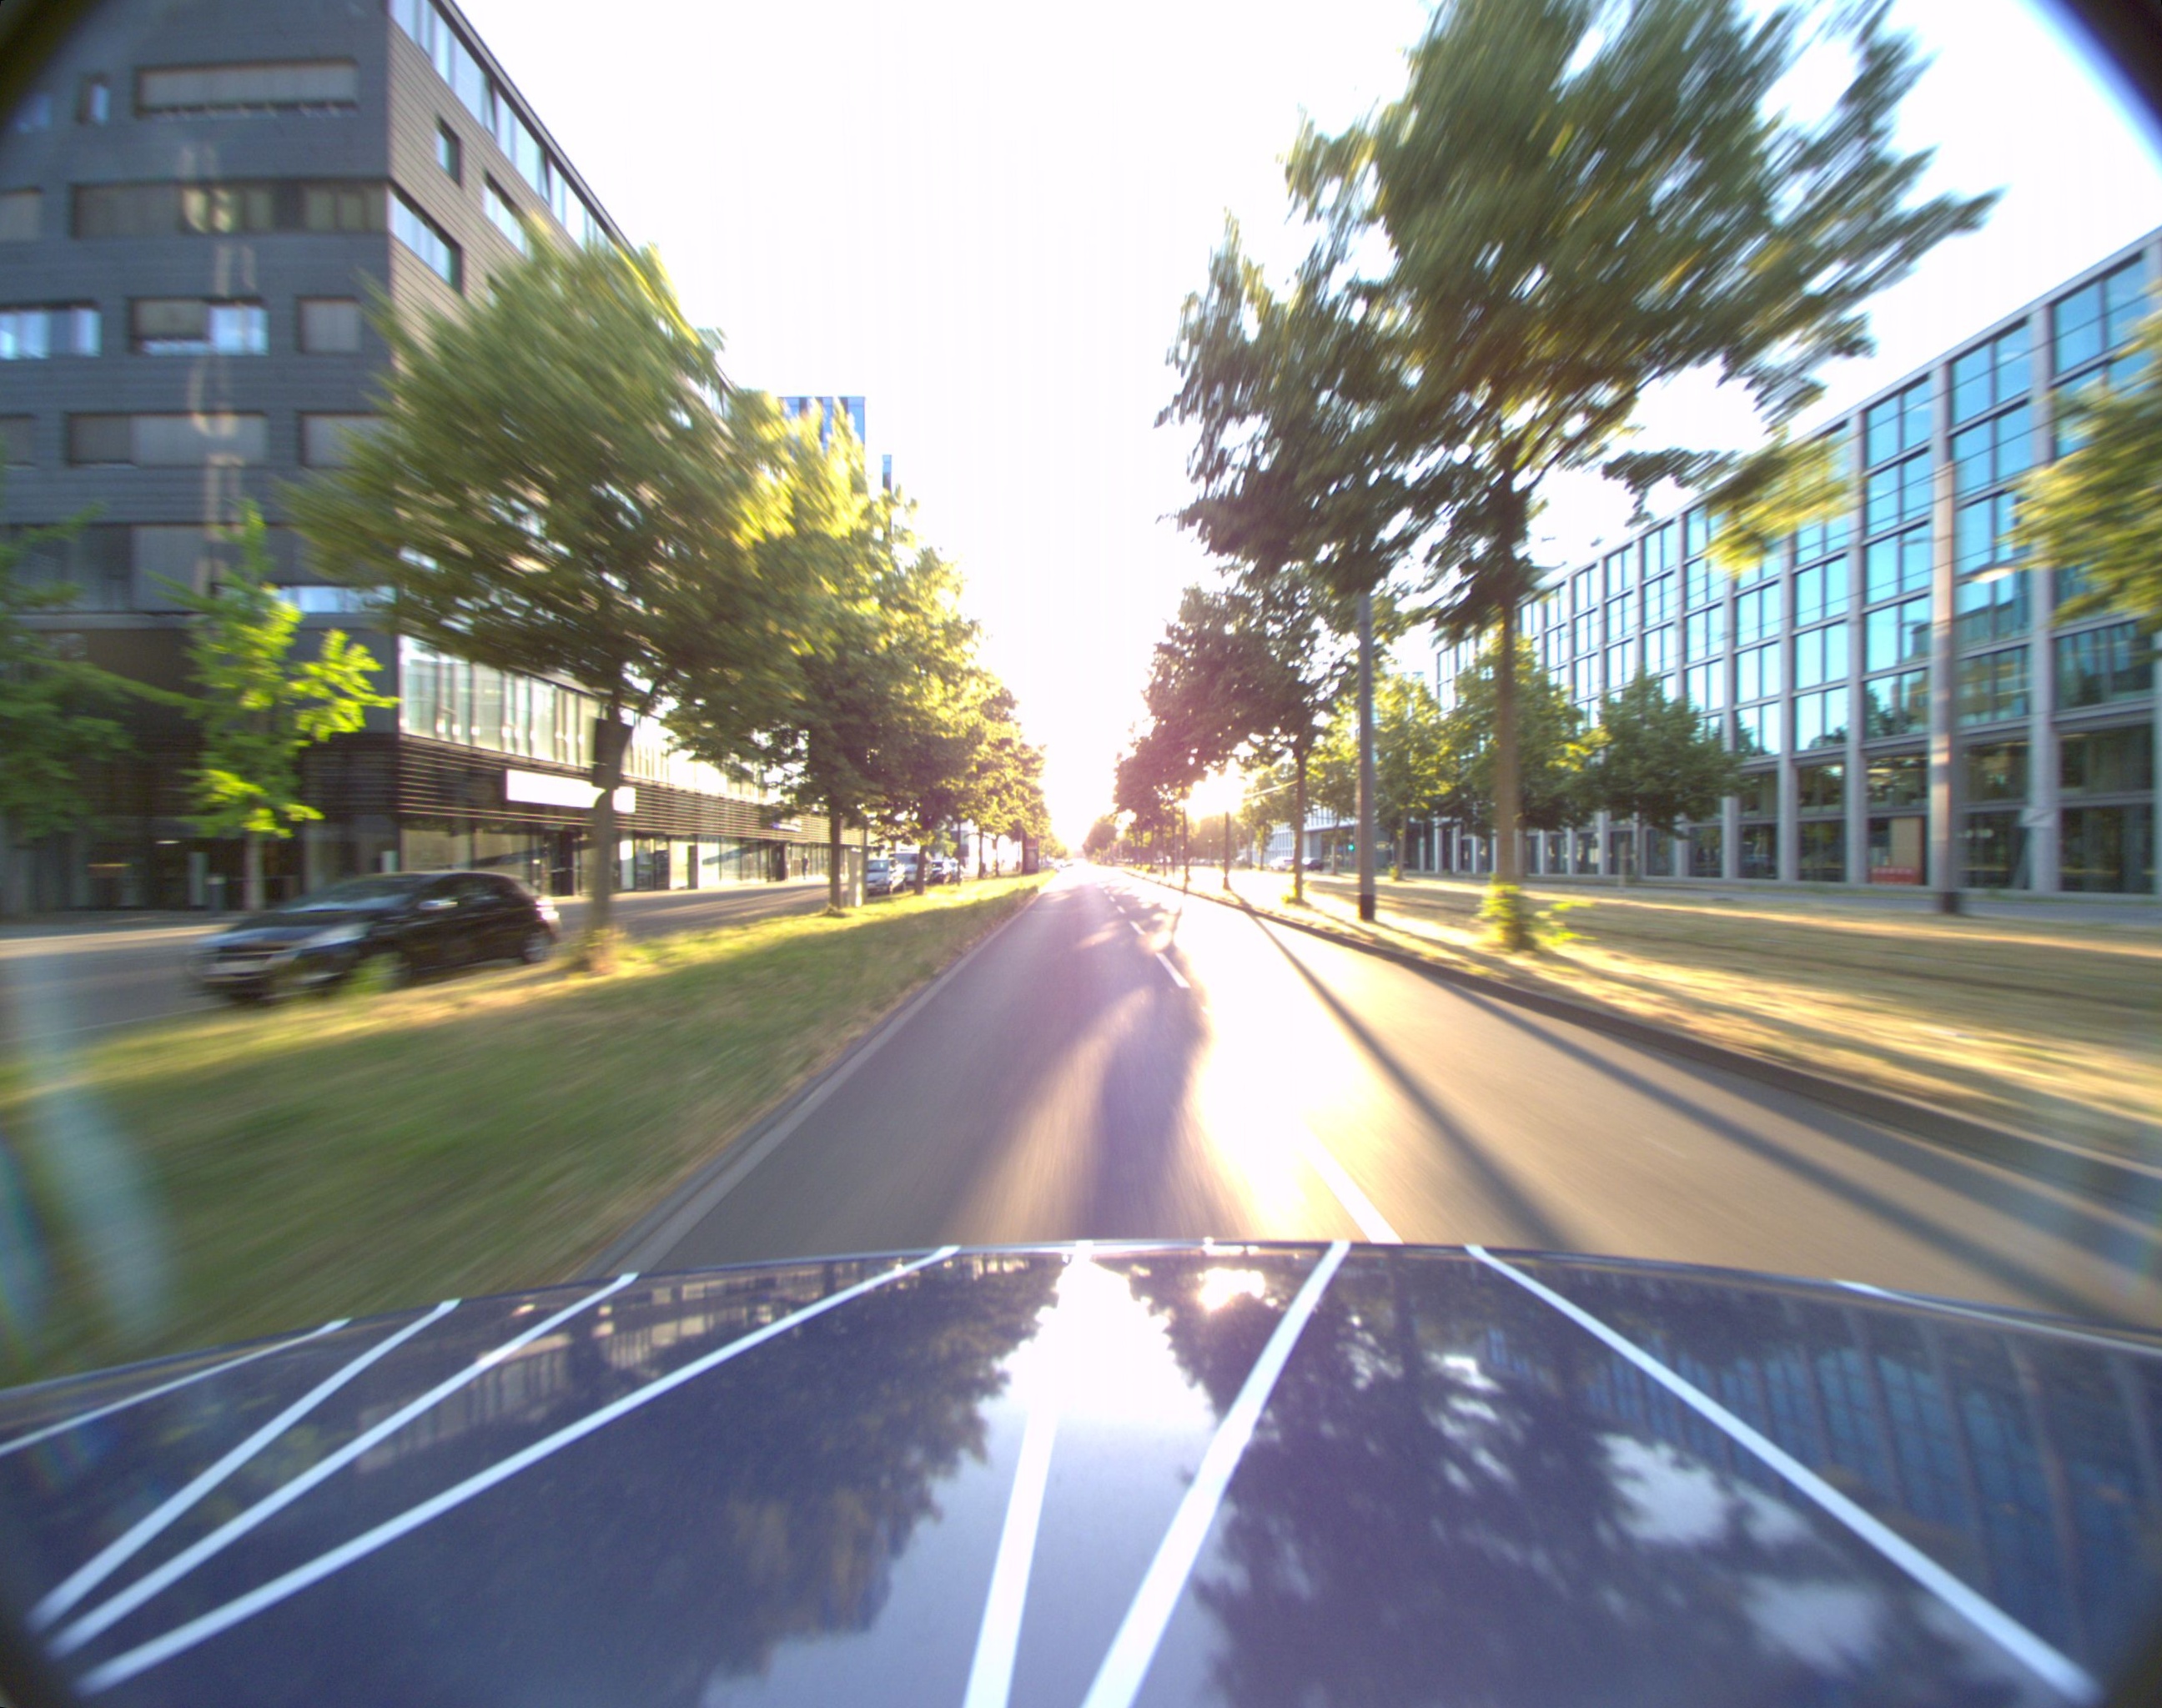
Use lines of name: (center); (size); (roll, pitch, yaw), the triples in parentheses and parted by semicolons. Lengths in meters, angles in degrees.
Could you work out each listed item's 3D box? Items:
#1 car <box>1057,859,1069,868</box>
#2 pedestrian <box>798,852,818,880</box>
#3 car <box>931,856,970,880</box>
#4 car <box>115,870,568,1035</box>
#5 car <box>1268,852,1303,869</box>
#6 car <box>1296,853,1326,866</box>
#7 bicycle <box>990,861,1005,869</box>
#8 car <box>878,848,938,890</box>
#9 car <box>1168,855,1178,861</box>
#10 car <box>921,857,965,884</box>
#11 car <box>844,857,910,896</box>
car: (-3.179, 1.673, 134.658); (1.999, 1.473, 4.335); (-1, 0, -1)
pedestrian: (-17.588, 0.779, 48.967); (0.899, 1.786, 0.912); (0, 0, -2)
car: (-9.010, 0.957, 52.838); (1.922, 1.488, 5.040); (-2, 0, -2)
car: (-8.865, 1.040, 9.726); (1.785, 1.485, 4.000); (-4, 0, 0)
car: (19.401, 0.602, 72.180); (1.907, 1.477, 4.630); (0, 0, -2)
car: (25.035, 0.603, 82.730); (1.936, 1.414, 4.388); (0, 0, 0)
bicycle: (-8.565, 1.126, 77.765); (1.719, 0.905, 0.363); (-1, 0, 33)
car: (-8.876, 0.725, 39.425); (1.991, 1.977, 4.931); (-2, 0, -1)
car: (22.381, 0.909, 184.629); (1.645, 1.440, 3.999); (-1, 0, -4)
car: (-8.278, 0.959, 45.954); (1.864, 1.488, 4.289); (2, 1, 0)
car: (-8.916, 0.937, 33.507); (1.843, 1.561, 4.060); (-2, 0, -1)
